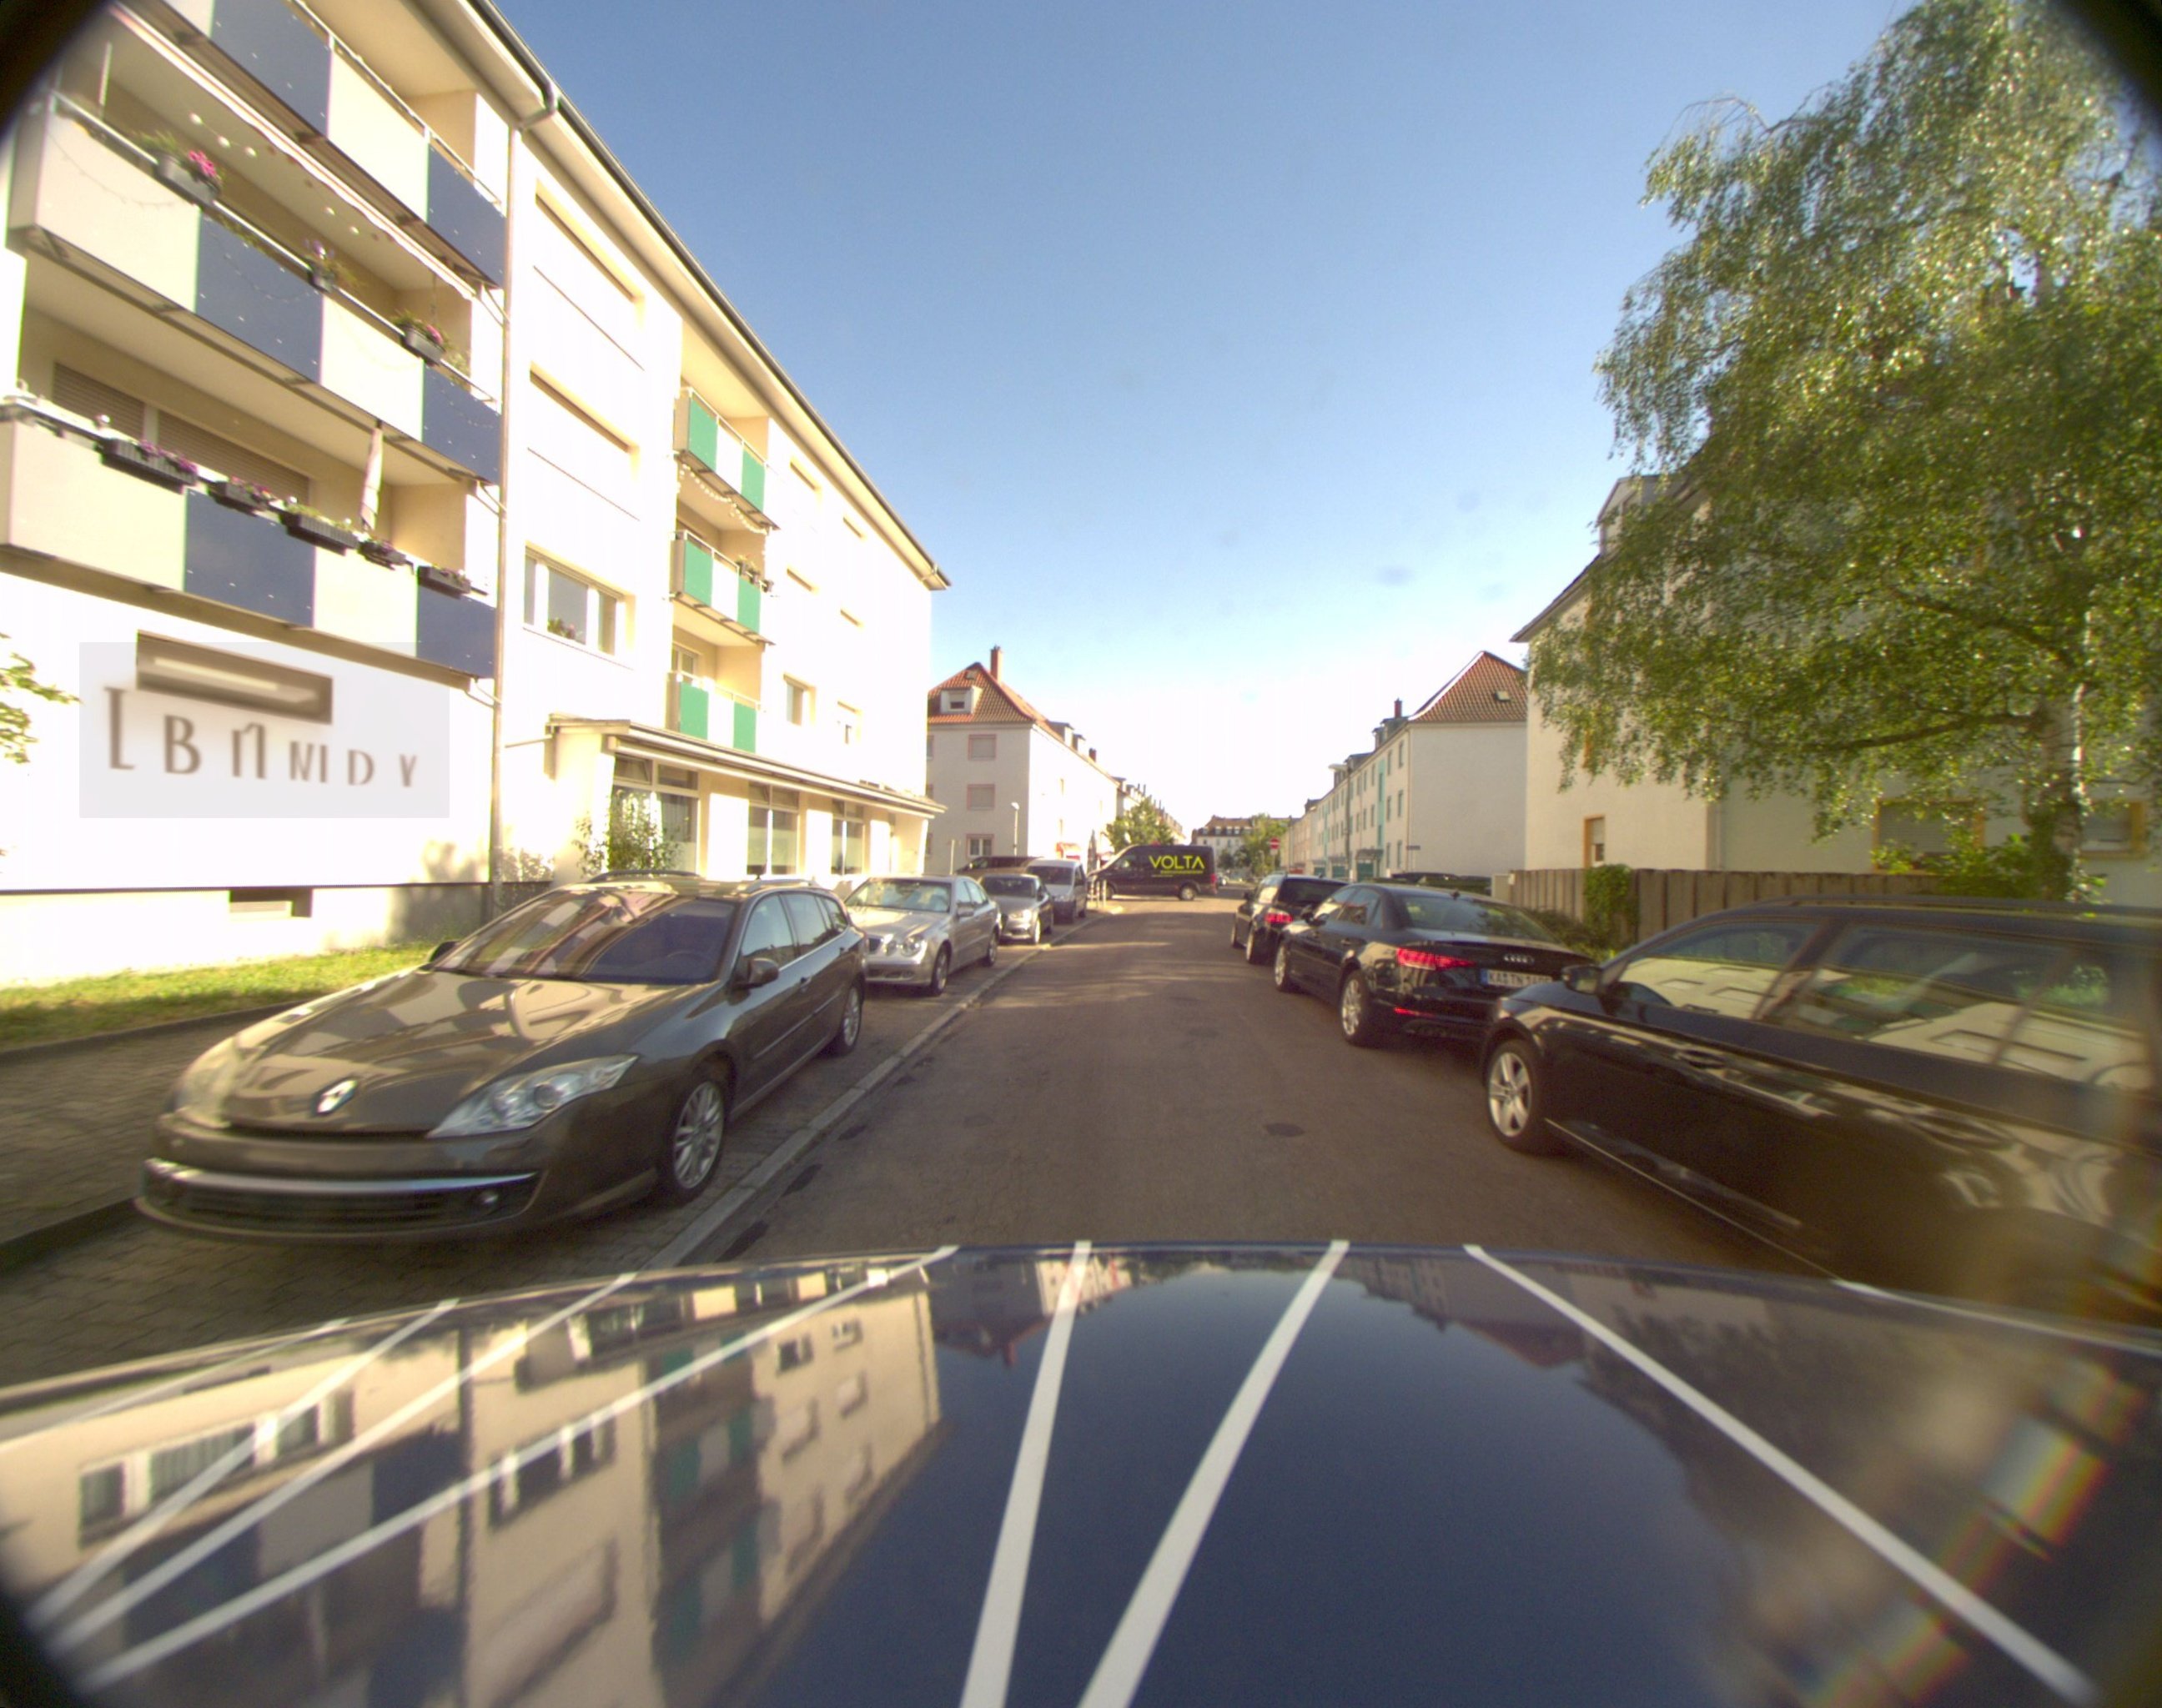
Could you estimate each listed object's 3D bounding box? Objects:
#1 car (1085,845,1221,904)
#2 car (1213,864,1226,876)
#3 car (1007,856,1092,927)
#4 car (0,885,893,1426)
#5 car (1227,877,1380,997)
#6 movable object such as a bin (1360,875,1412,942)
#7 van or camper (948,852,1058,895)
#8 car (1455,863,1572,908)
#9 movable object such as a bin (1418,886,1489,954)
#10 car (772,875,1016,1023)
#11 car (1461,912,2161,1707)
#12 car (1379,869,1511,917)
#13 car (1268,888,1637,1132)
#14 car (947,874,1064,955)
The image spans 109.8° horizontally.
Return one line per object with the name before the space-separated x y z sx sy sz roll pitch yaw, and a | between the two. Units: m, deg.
car | 3.185 0.907 34.543 5.956 2.530 2.000 1 0 -1
car | 23.748 2.746 129.985 1.951 1.889 4.769 1 0 12
car | -0.828 1.029 22.489 1.750 1.813 4.134 2 0 8
car | -2.620 0.985 4.598 1.698 1.423 4.689 2 -1 1
car | 3.554 1.225 12.957 1.681 1.444 4.623 4 0 7
movable object such as a bin | 6.844 1.193 17.126 0.777 1.384 1.418 1 0 10
van or camper | -3.901 1.006 38.307 5.132 2.001 2.002 1 -2 8
car | 18.862 1.352 33.324 3.993 1.685 1.867 3 0 12
movable object such as a bin | 7.928 1.380 16.211 1.221 1.372 0.768 0 0 14
car | -2.259 1.095 10.641 1.681 1.438 4.727 5 -1 6
car | 2.991 1.109 2.521 1.559 1.434 3.969 4 0 3
car | 14.651 1.543 30.821 4.495 1.654 1.721 2 1 12
car | 3.160 1.202 7.549 1.682 1.434 4.281 4 0 3
car | -1.518 1.228 16.971 1.681 1.398 4.548 5 -1 5
